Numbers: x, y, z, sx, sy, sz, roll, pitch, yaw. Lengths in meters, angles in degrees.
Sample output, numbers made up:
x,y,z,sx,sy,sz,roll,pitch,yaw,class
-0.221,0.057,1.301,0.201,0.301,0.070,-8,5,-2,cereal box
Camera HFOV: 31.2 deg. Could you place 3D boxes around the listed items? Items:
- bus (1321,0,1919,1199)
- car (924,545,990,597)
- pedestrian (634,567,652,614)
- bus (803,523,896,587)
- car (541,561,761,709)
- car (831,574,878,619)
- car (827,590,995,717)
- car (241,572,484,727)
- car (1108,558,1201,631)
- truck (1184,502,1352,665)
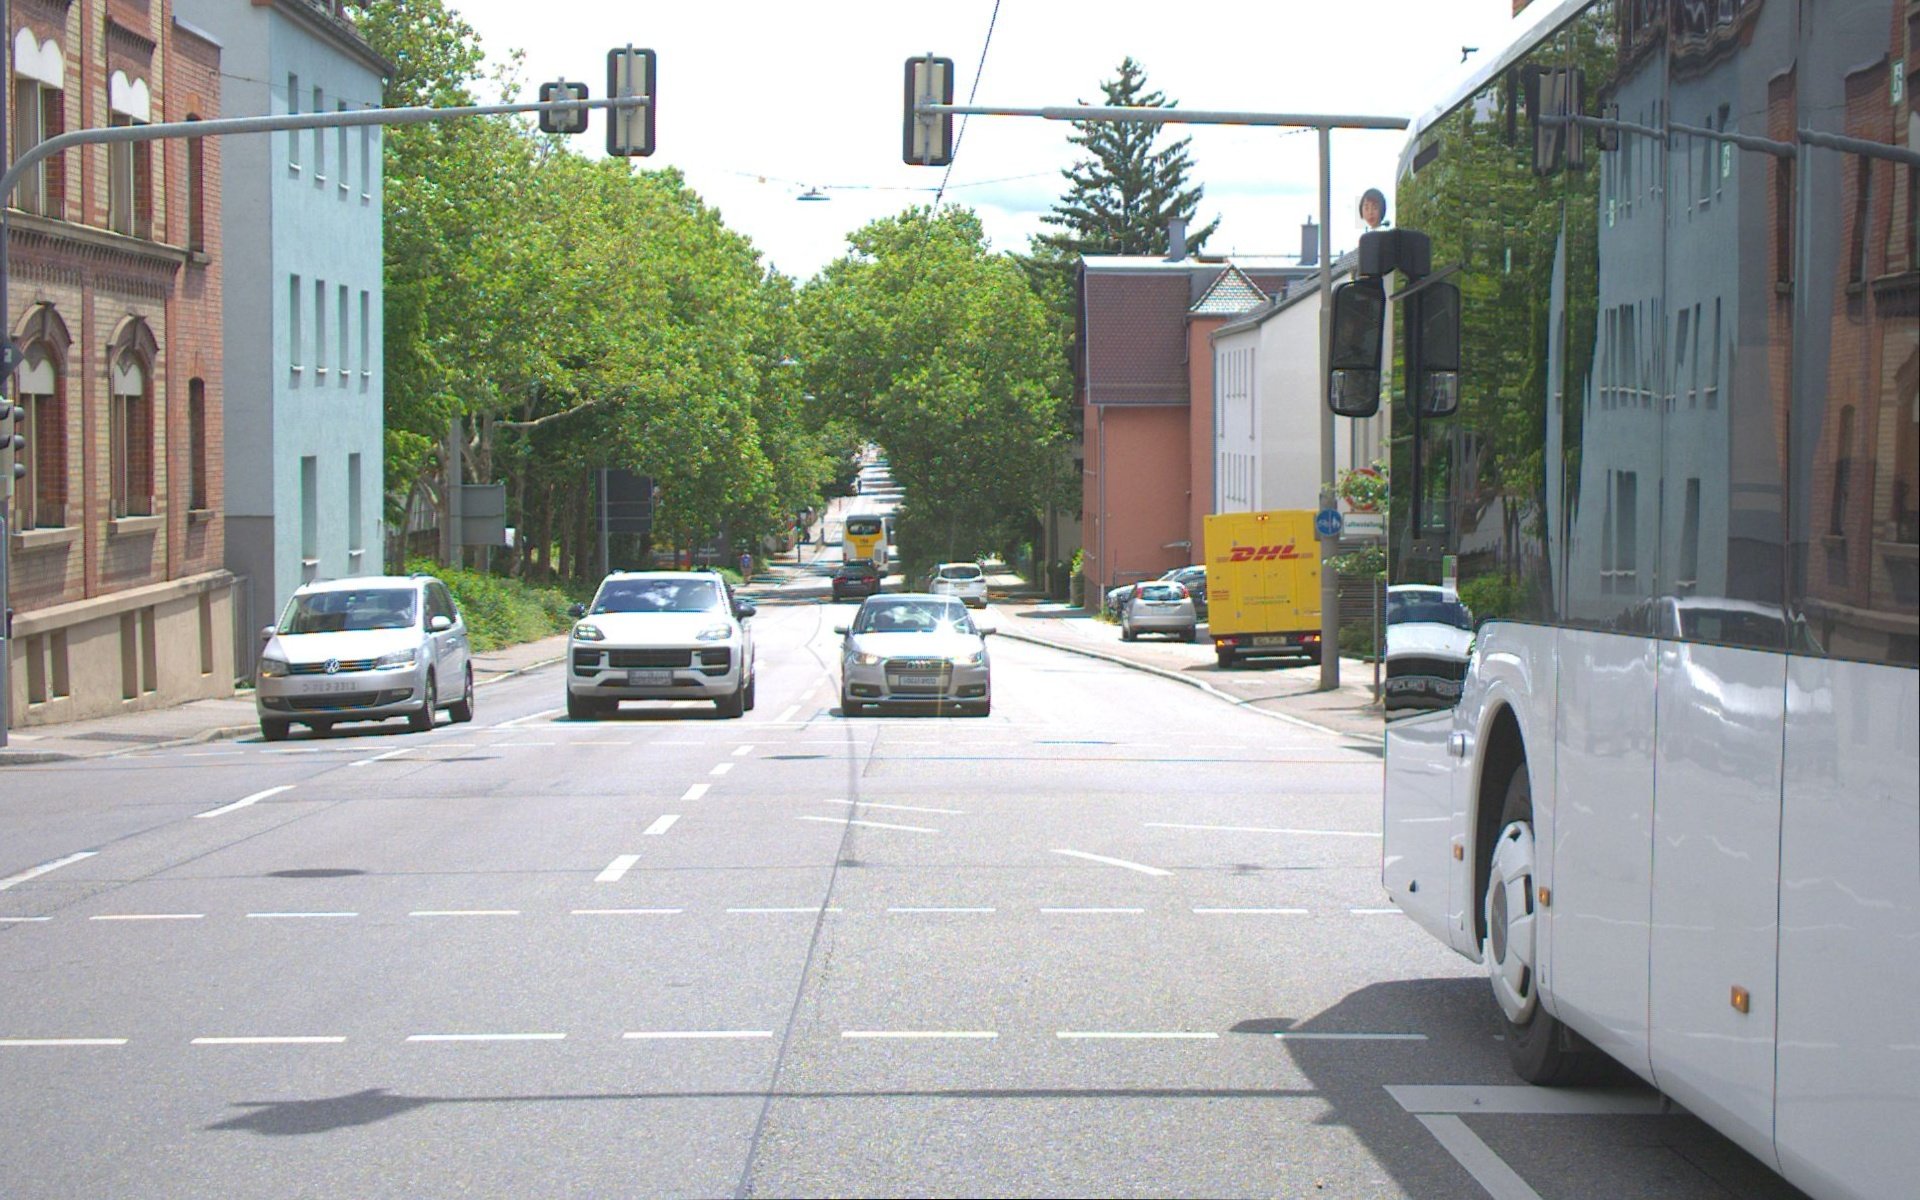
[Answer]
x,y,z,sx,sy,sz,roll,pitch,yaw,class
2.928,-0.224,6.780,2.904,3.498,12.488,1,0,-1,bus
-0.116,-1.058,123.563,2.091,1.824,4.143,0,1,-4,car
-12.020,-0.356,130.488,0.606,1.752,0.654,-1,1,-2,pedestrian
-6.536,-2.626,200.995,3.299,3.618,11.248,-1,1,-13,bus
-3.537,0.364,40.210,2.207,1.607,4.547,-1,1,-1,car
-4.299,-0.172,140.722,1.819,1.778,4.000,-1,1,-1,car
-0.575,0.591,40.663,1.865,1.363,4.547,-1,1,-1,car
-6.444,0.493,37.533,1.935,1.558,4.389,-1,1,-1,car
4.910,-0.163,87.082,1.910,1.810,4.001,0,1,-3,car
5.892,-0.313,64.925,2.542,2.903,6.569,1,0,10,truck
